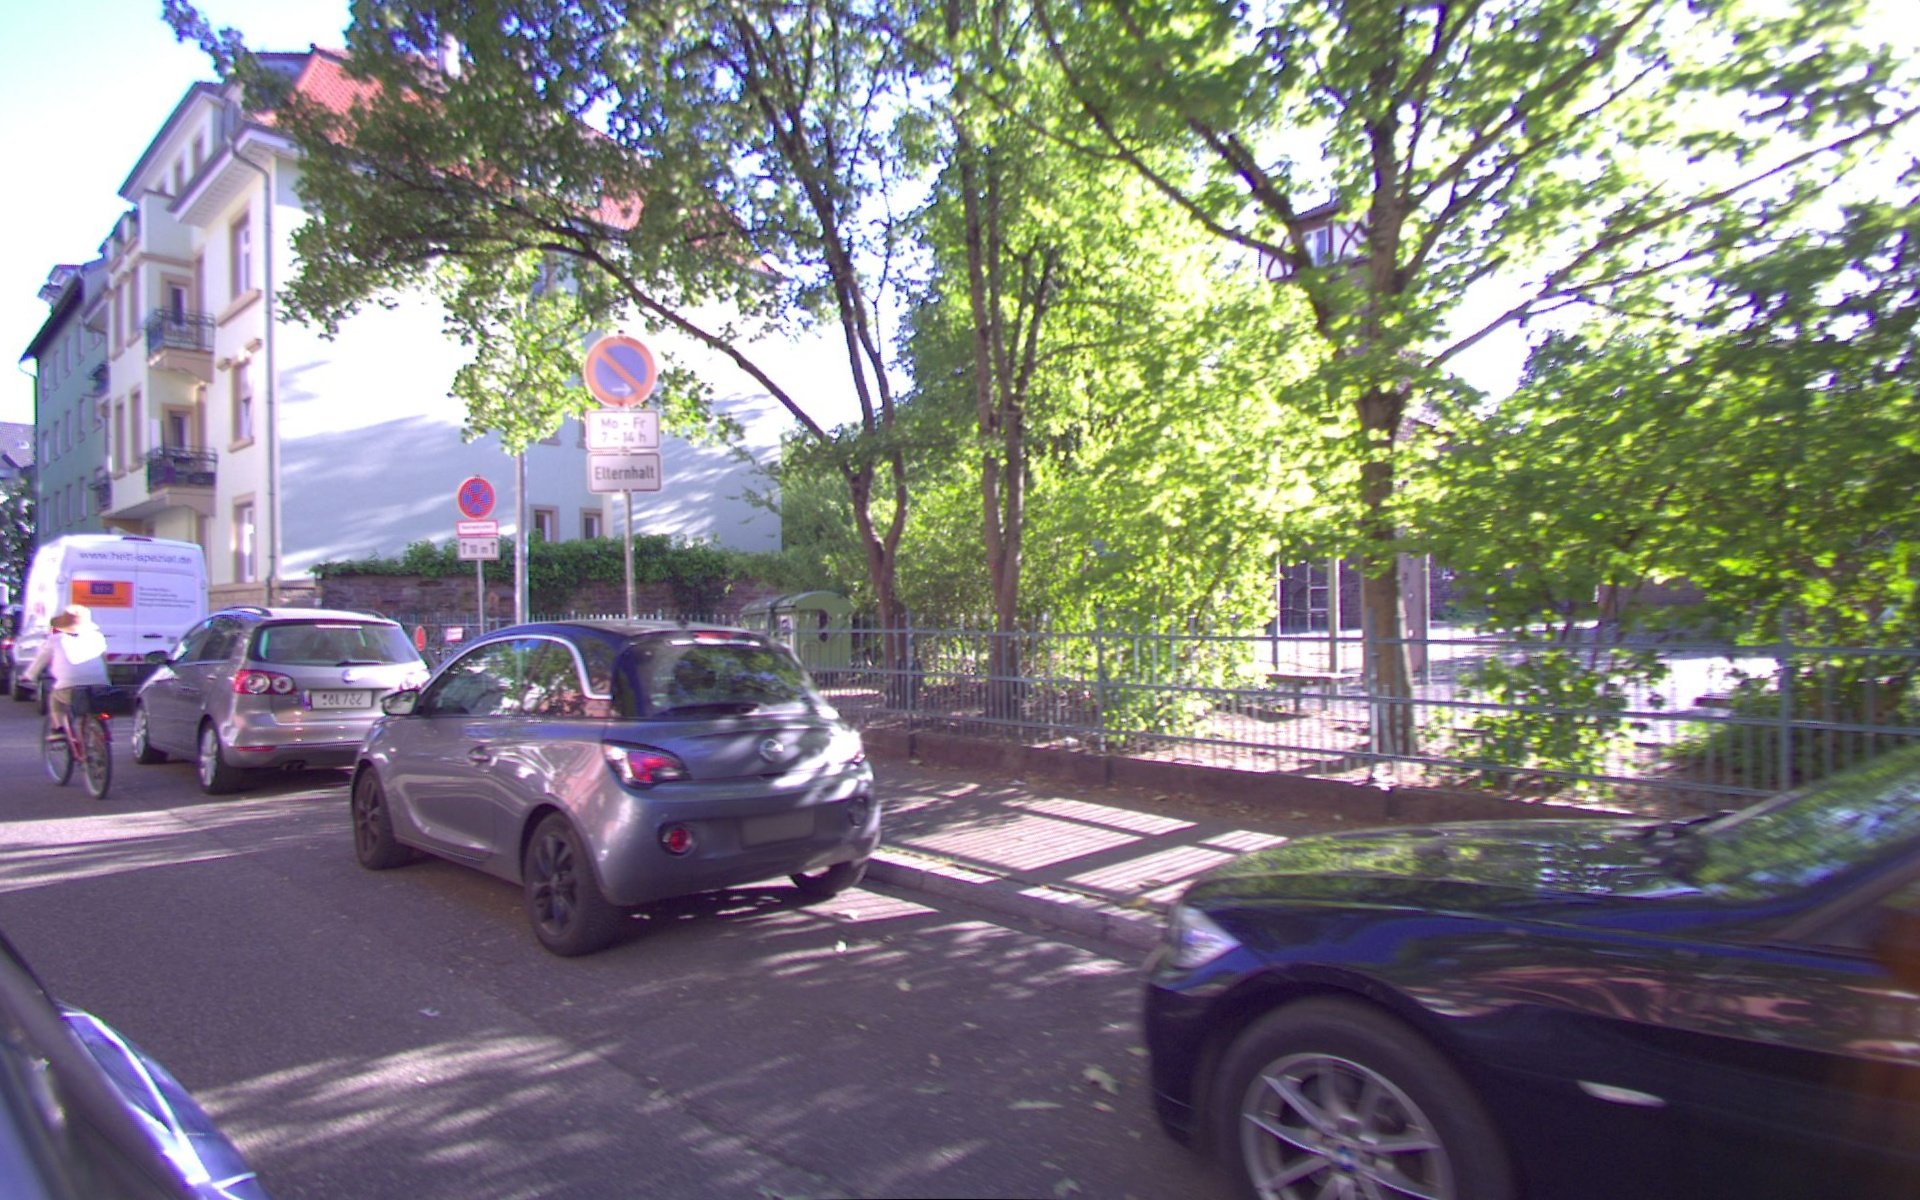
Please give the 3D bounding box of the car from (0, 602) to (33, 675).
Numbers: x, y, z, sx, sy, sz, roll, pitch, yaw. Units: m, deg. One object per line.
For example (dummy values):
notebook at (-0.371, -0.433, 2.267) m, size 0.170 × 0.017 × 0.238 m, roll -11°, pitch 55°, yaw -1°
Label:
car at (-31.005, 1.165, 31.645) m, size 5.239 × 2.185 × 2.229 m, roll -1°, pitch -3°, yaw 40°

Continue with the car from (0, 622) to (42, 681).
car at (-26.523, 1.368, 27.575) m, size 4.823 × 1.533 × 1.747 m, roll -1°, pitch -2°, yaw 42°

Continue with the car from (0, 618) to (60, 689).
car at (-23.062, 1.236, 24.313) m, size 4.086 × 1.563 × 1.618 m, roll 0°, pitch -1°, yaw 41°

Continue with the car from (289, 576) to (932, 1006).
car at (-2.234, 0.783, 5.784) m, size 4.151 × 1.585 × 1.658 m, roll -1°, pitch -4°, yaw 42°

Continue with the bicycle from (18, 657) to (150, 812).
bicycle at (-7.434, 1.073, 8.563) m, size 1.685 × 1.085 × 0.657 m, roll 0°, pitch 1°, yaw 43°

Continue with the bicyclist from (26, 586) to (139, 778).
bicyclist at (-7.354, 0.654, 8.480) m, size 0.625 × 1.520 × 0.644 m, roll -1°, pitch 0°, yaw 43°

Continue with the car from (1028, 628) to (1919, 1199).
car at (2.544, 0.797, 1.680) m, size 4.776 × 1.406 × 1.696 m, roll -1°, pitch -5°, yaw 41°

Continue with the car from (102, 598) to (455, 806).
car at (-6.831, 0.854, 9.949) m, size 4.467 × 1.603 × 1.761 m, roll -1°, pitch -3°, yaw 41°

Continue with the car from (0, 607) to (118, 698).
car at (-19.217, 1.050, 21.013) m, size 4.967 × 1.698 × 1.856 m, roll -1°, pitch -3°, yaw 41°

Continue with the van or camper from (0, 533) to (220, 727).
van or camper at (-14.775, 0.512, 17.349) m, size 5.849 × 2.790 × 2.106 m, roll -1°, pitch -3°, yaw 42°
